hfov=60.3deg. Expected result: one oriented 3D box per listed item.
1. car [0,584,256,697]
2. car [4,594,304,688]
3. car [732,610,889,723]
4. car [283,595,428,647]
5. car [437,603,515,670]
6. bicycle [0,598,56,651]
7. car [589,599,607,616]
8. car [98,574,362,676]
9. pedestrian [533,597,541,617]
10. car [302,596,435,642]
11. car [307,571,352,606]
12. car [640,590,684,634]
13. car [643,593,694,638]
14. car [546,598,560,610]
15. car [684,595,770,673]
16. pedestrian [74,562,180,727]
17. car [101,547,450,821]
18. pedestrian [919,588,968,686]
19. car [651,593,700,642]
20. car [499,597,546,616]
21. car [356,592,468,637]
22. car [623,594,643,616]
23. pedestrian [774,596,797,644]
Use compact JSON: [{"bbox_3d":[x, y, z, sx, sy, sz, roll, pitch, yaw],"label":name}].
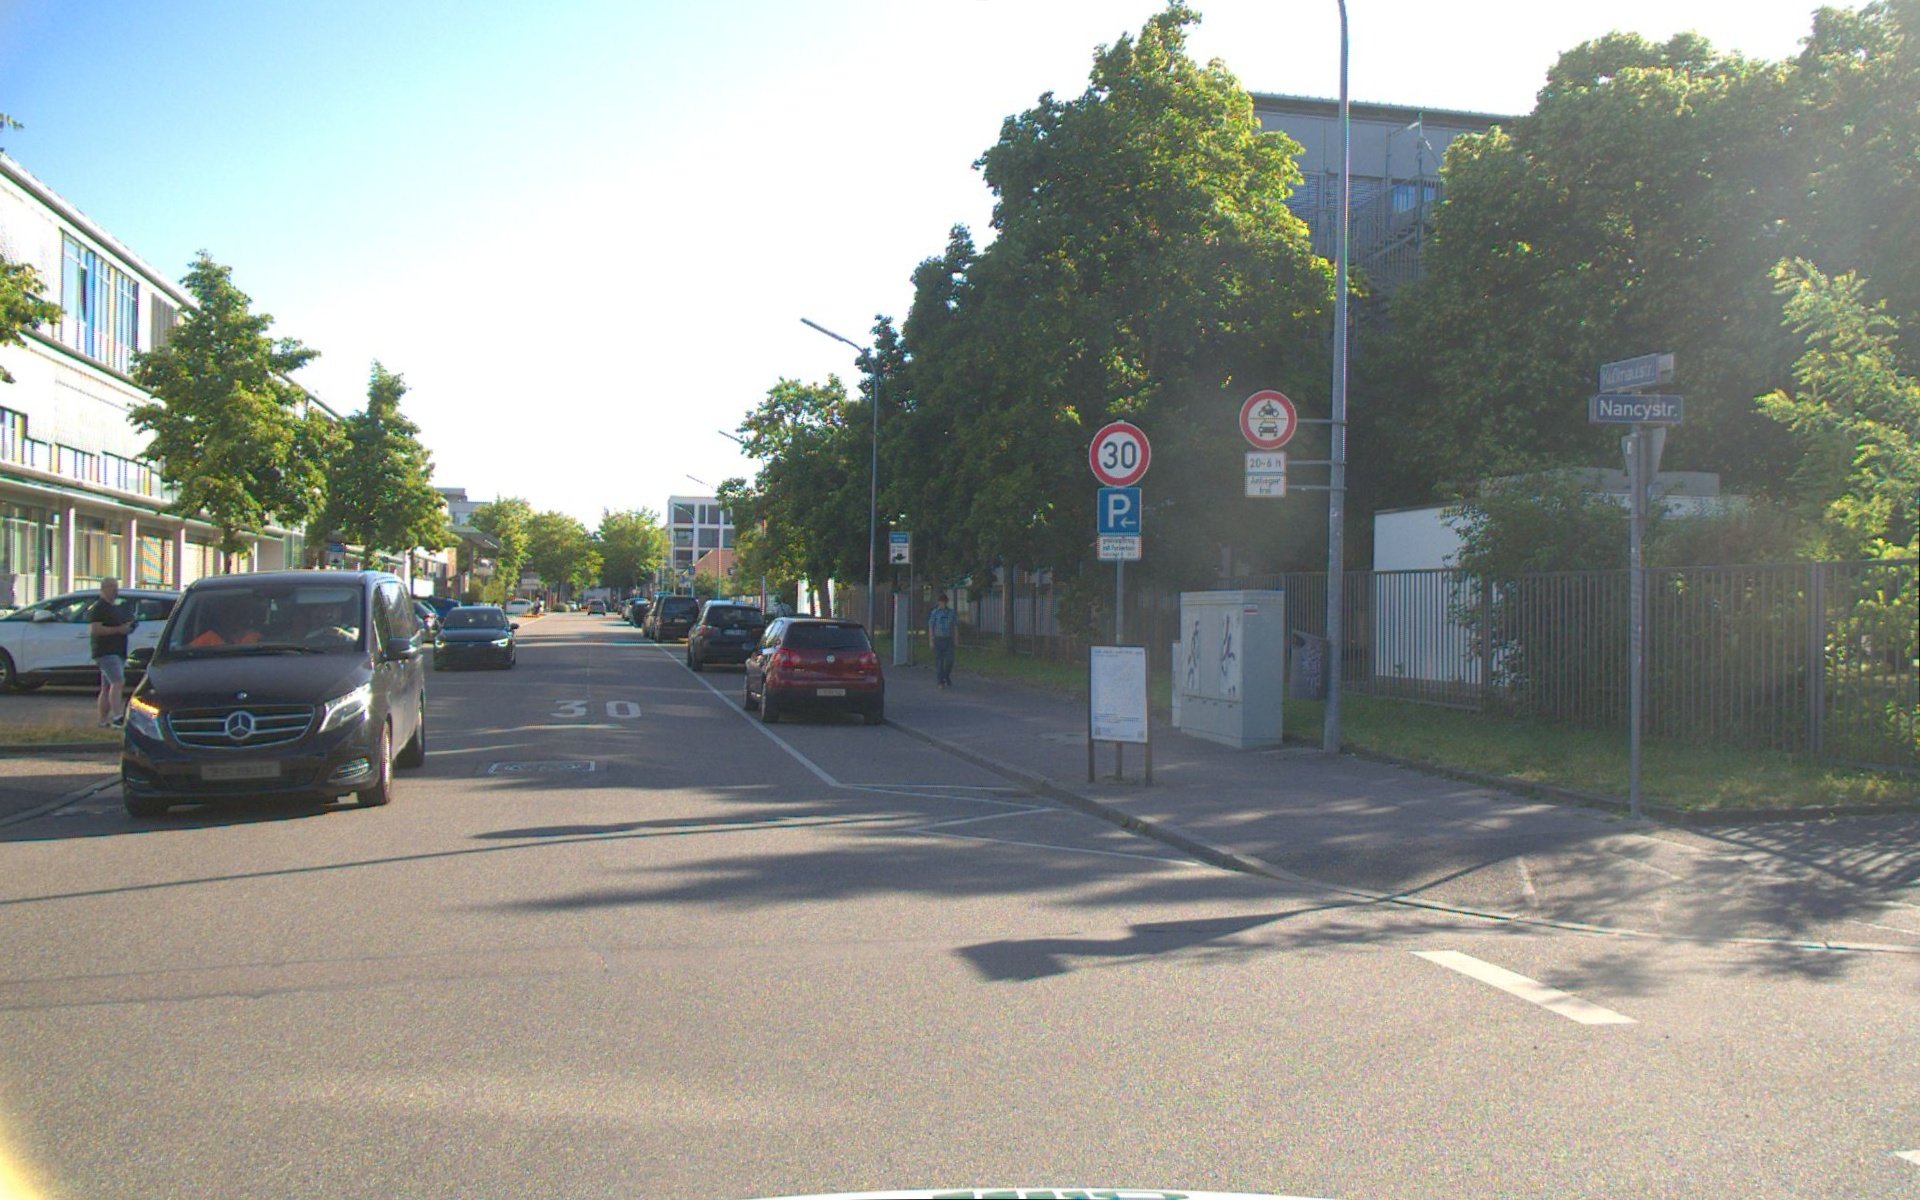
[{"bbox_3d":[-13.805,0.627,26.191,4.527,1.680,1.863,1,-1,-10],"label":"car"},{"bbox_3d":[-13.929,0.713,28.844,4.357,1.527,1.821,1,-1,-13],"label":"car"},{"bbox_3d":[-2.353,0.934,24.895,1.690,1.480,4.636,2,0,-13],"label":"car"},{"bbox_3d":[-18.079,0.629,49.630,3.923,1.382,1.735,2,-1,-17],"label":"car"},{"bbox_3d":[-11.469,0.820,39.348,1.676,1.476,4.069,-1,0,-16],"label":"car"},{"bbox_3d":[-21.833,0.551,37.704,0.850,1.174,2.374,2,-1,8],"label":"bicycle"},{"bbox_3d":[-34.798,0.746,158.991,1.713,1.570,3.987,1,0,-13],"label":"car"},{"bbox_3d":[-15.050,0.519,34.363,4.660,1.897,1.822,2,0,-13],"label":"car"},{"bbox_3d":[-35.761,0.591,139.868,0.608,1.652,0.713,0,0,-13],"label":"pedestrian"},{"bbox_3d":[-20.140,0.641,56.456,4.146,1.488,1.863,1,0,-17],"label":"car"},{"bbox_3d":[-38.851,-0.691,102.010,1.959,2.049,3.986,1,-1,-13],"label":"car"},{"bbox_3d":[-13.909,0.532,76.947,1.842,2.013,3.987,0,0,-13],"label":"car"},{"bbox_3d":[-12.518,0.630,70.878,1.959,1.855,4.185,0,0,-13],"label":"car"},{"bbox_3d":[-52.375,0.492,212.723,1.698,1.563,3.985,1,0,-14],"label":"car"},{"bbox_3d":[-5.764,0.778,40.517,1.780,1.695,4.579,2,0,-12],"label":"car"},{"bbox_3d":[-9.832,0.516,19.558,0.842,1.874,0.823,3,-1,-11],"label":"pedestrian"},{"bbox_3d":[-5.708,0.610,14.499,1.921,1.900,5.237,-2,0,-13],"label":"car"},{"bbox_3d":[-0.316,0.676,30.887,0.705,1.789,0.882,-1,0,-12],"label":"pedestrian"},{"bbox_3d":[-11.168,0.665,64.804,1.703,1.862,3.893,1,0,-12],"label":"car"},{"bbox_3d":[-39.094,0.575,147.861,3.918,1.546,1.993,1,-2,-13],"label":"car"},{"bbox_3d":[-21.921,0.595,66.291,4.146,1.631,1.863,2,-1,-17],"label":"car"},{"bbox_3d":[-24.587,0.351,124.233,1.411,1.588,3.032,1,0,-13],"label":"car"},{"bbox_3d":[-6.295,0.698,59.578,0.686,1.690,0.749,-2,0,-13],"label":"pedestrian"}]
